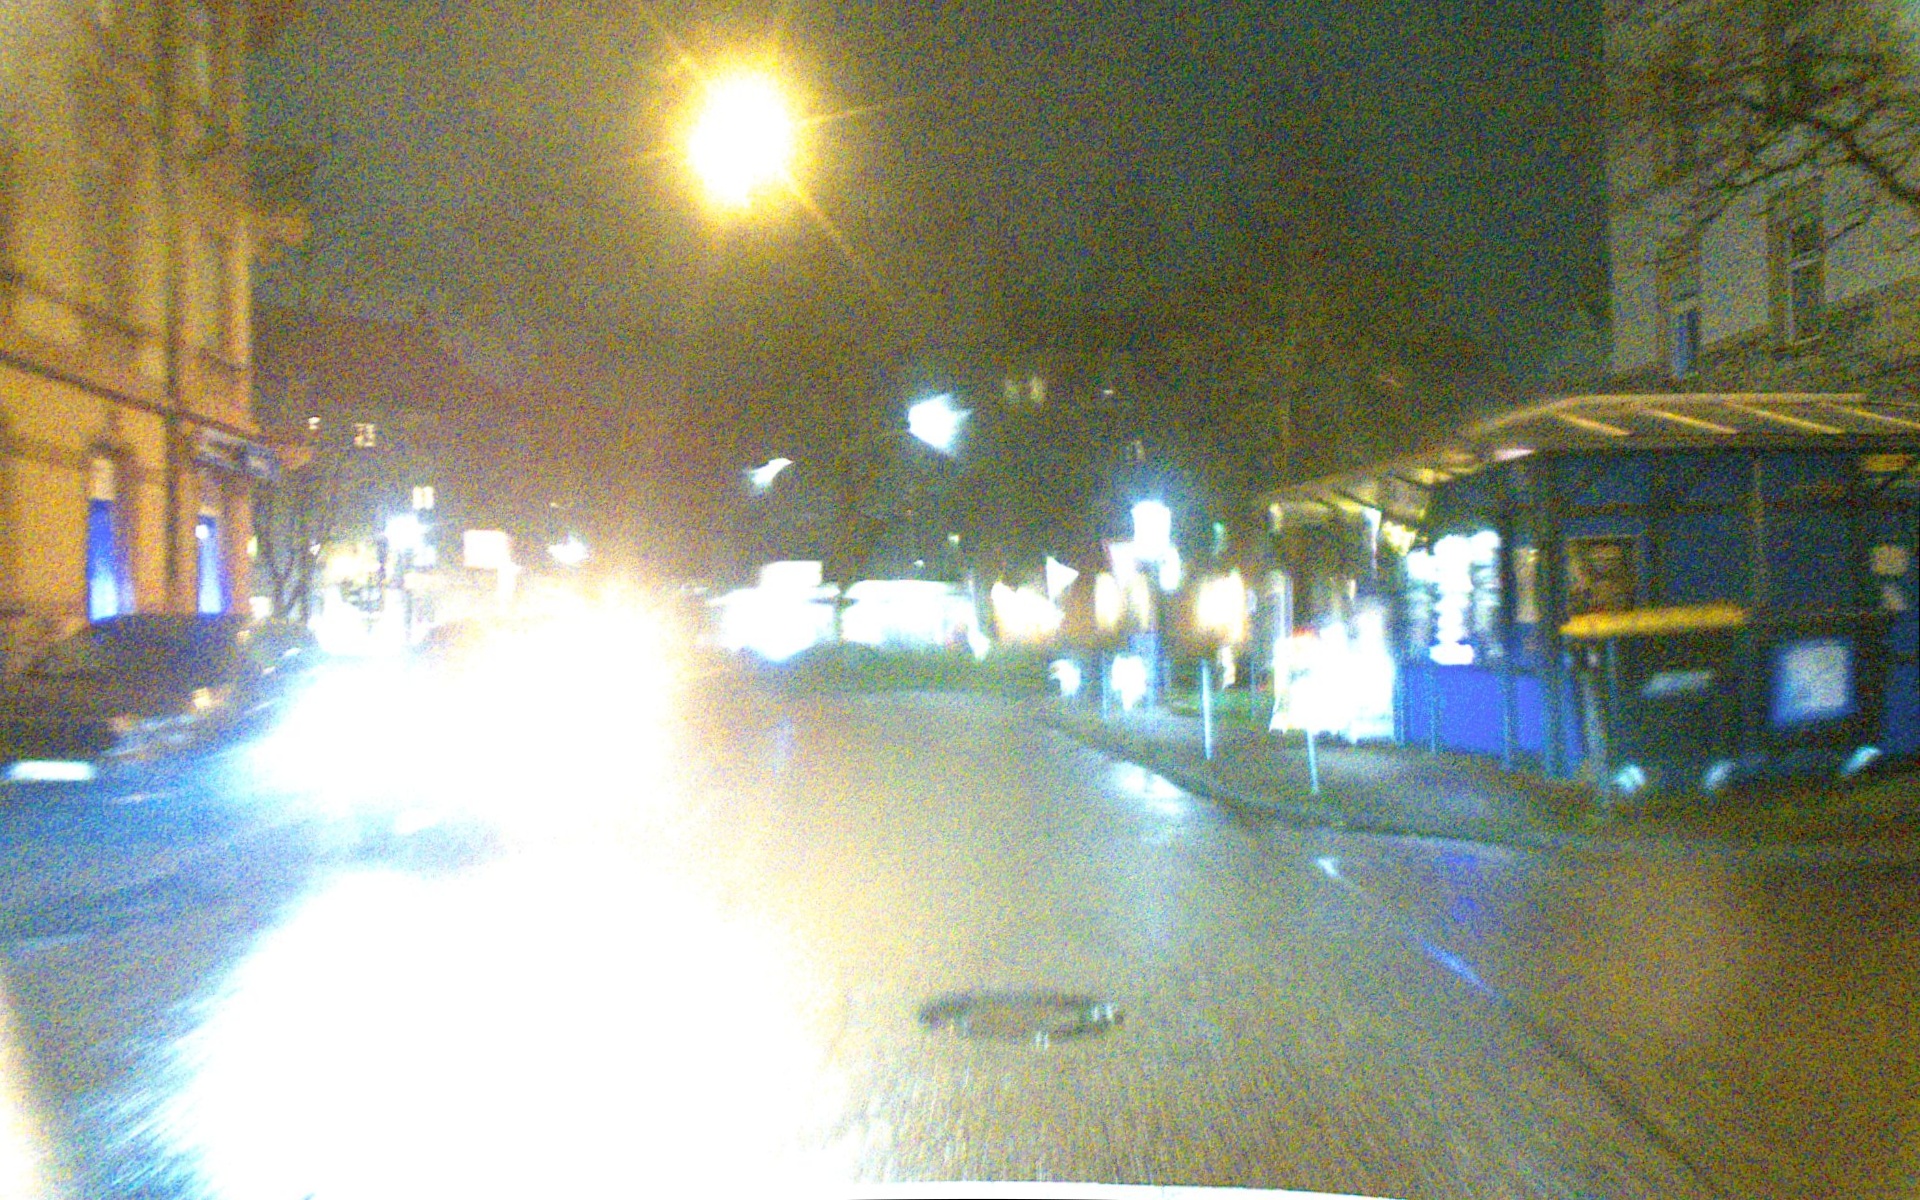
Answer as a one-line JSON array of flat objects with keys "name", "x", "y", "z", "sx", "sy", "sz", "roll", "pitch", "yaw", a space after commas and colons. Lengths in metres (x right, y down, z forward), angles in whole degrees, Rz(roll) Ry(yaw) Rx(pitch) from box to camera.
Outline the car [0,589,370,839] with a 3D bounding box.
[{"name": "car", "x": -6.566, "y": 0.847, "z": 14.043, "sx": 1.797, "sy": 1.747, "sz": 4.589, "roll": -1, "pitch": -1, "yaw": -5}]

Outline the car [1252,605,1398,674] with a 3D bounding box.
[{"name": "car", "x": 9.149, "y": 1.009, "z": 41.436, "sx": 3.419, "sy": 1.642, "sz": 1.716, "roll": 2, "pitch": -2, "yaw": -34}]

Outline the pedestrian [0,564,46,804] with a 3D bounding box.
[{"name": "pedestrian", "x": -8.302, "y": 0.703, "z": 14.124, "sx": 0.645, "sy": 2.008, "sz": 0.767, "roll": 1, "pitch": -2, "yaw": -16}]

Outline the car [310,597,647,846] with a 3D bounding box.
[{"name": "car", "x": -3.820, "y": 0.873, "z": 13.958, "sx": 1.884, "sy": 1.646, "sz": 4.568, "roll": -3, "pitch": 0, "yaw": -6}]
